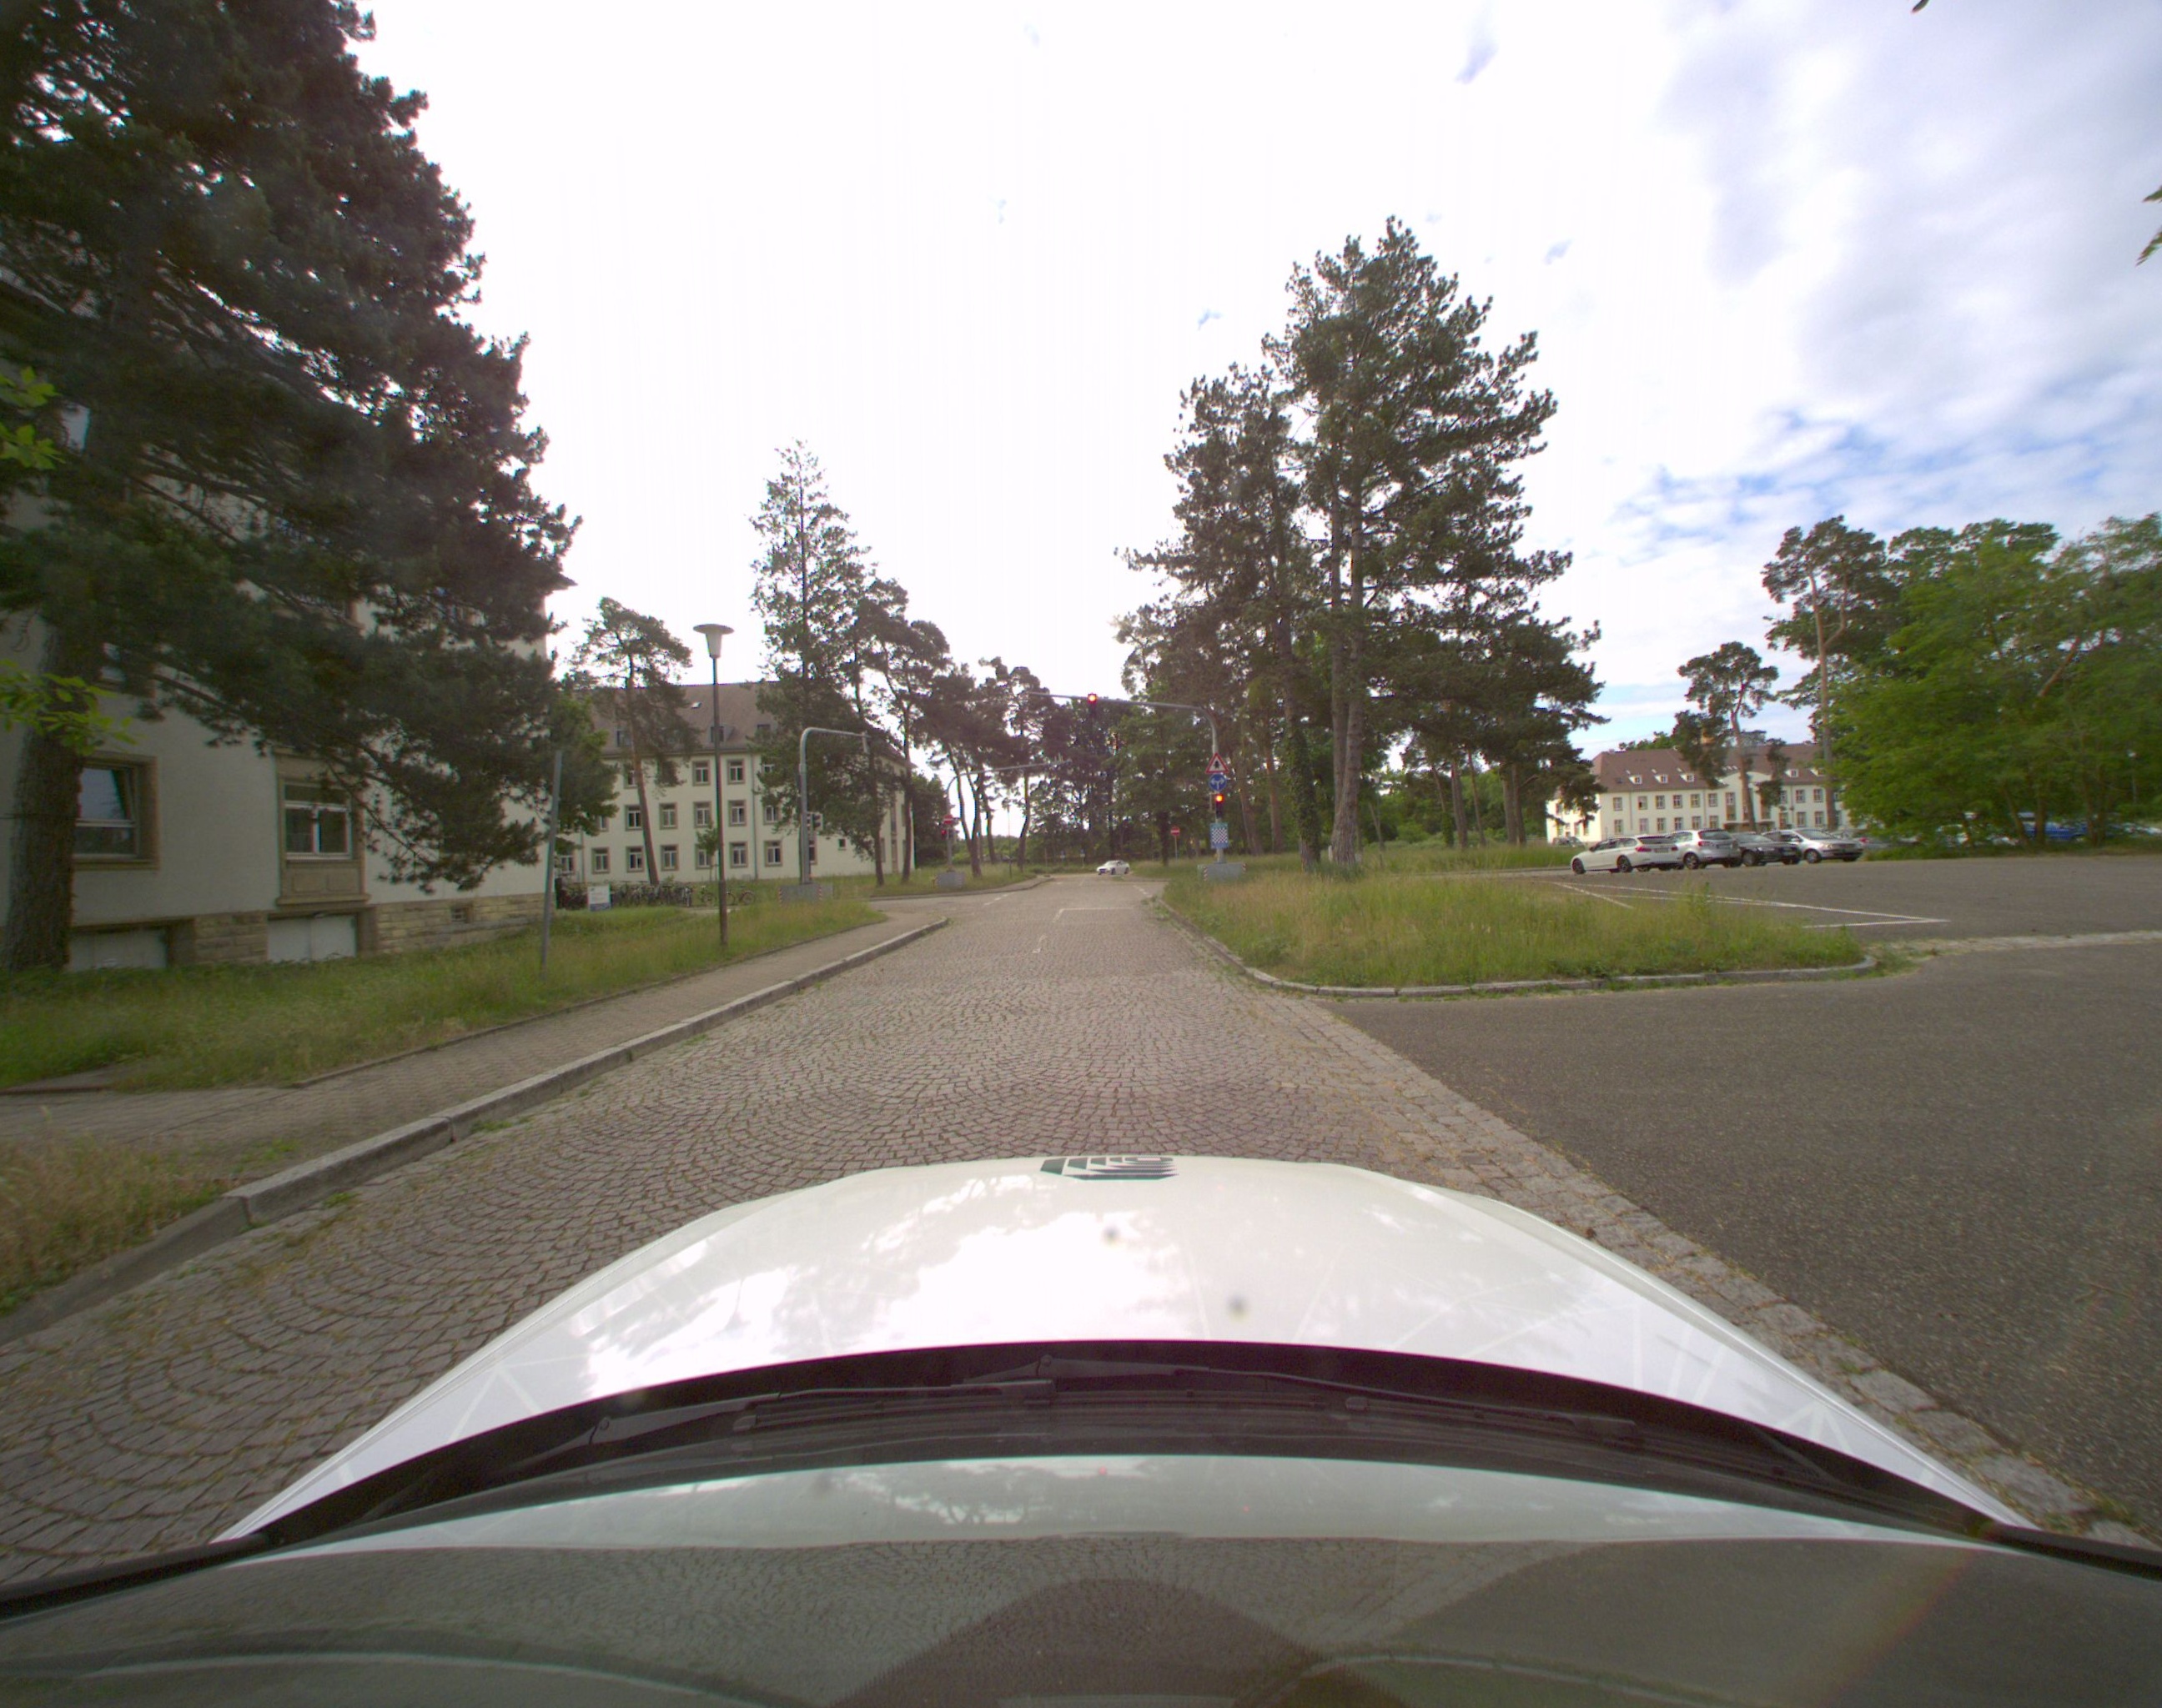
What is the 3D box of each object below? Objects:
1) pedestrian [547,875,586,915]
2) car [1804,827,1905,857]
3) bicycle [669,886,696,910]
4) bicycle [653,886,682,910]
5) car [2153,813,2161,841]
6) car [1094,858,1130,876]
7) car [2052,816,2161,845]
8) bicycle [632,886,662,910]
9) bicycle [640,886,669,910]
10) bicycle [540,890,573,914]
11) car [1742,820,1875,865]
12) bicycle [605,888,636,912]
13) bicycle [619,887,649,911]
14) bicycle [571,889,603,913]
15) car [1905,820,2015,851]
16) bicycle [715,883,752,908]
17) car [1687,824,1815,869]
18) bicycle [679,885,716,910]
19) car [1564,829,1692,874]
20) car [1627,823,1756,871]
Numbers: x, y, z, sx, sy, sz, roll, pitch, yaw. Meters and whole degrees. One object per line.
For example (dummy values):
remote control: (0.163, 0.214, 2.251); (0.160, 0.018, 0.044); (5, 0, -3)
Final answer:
pedestrian: (-24.821, 1.969, 39.284); (1.050, 1.788, 1.165); (-2, 1, 29)
car: (41.598, -0.642, 43.936); (1.725, 1.472, 4.251); (-2, 0, 6)
bicycle: (-19.574, 2.139, 40.010); (0.513, 1.079, 1.584); (-3, -1, -2)
bicycle: (-20.252, 2.150, 39.922); (0.512, 1.079, 1.587); (-3, -1, 4)
car: (61.280, -1.544, 43.778); (1.727, 1.521, 4.244); (-2, 0, 1)
car: (3.260, 1.349, 84.287); (1.756, 1.438, 4.246); (-6, 0, 32)
car: (55.126, -1.235, 43.427); (1.727, 1.390, 4.246); (-2, 0, 3)
bicycle: (-21.316, 2.169, 40.019); (0.512, 1.079, 1.586); (-3, -1, 1)
bicycle: (-20.955, 2.163, 40.014); (0.512, 1.079, 1.586); (-3, -1, 1)
bicycle: (-25.727, 2.334, 39.966); (0.512, 1.079, 1.586); (-3, -1, 1)
car: (29.623, -0.409, 33.349); (1.694, 1.485, 4.245); (-3, -3, 2)
bicycle: (-22.568, 2.223, 39.950); (0.512, 1.079, 1.586); (-3, -1, 1)
bicycle: (-21.946, 2.190, 39.971); (0.512, 1.079, 1.586); (-3, -1, 1)
bicycle: (-24.200, 2.301, 39.934); (0.512, 1.079, 1.586); (-3, -1, 1)
car: (47.254, -0.962, 43.915); (1.608, 1.502, 4.251); (-2, 0, 6)
bicycle: (-16.542, 1.966, 38.797); (1.460, 1.065, 0.516); (-3, -1, -2)
car: (26.885, -0.234, 32.865); (1.694, 1.485, 4.245); (-3, -3, 2)
bicycle: (-18.177, 2.067, 38.628); (1.460, 1.079, 0.516); (-3, -1, -2)
car: (21.621, -0.036, 32.462); (1.843, 1.487, 4.605); (-1, -3, -2)
car: (24.255, -0.209, 32.572); (1.777, 1.606, 4.239); (-3, -3, -2)
